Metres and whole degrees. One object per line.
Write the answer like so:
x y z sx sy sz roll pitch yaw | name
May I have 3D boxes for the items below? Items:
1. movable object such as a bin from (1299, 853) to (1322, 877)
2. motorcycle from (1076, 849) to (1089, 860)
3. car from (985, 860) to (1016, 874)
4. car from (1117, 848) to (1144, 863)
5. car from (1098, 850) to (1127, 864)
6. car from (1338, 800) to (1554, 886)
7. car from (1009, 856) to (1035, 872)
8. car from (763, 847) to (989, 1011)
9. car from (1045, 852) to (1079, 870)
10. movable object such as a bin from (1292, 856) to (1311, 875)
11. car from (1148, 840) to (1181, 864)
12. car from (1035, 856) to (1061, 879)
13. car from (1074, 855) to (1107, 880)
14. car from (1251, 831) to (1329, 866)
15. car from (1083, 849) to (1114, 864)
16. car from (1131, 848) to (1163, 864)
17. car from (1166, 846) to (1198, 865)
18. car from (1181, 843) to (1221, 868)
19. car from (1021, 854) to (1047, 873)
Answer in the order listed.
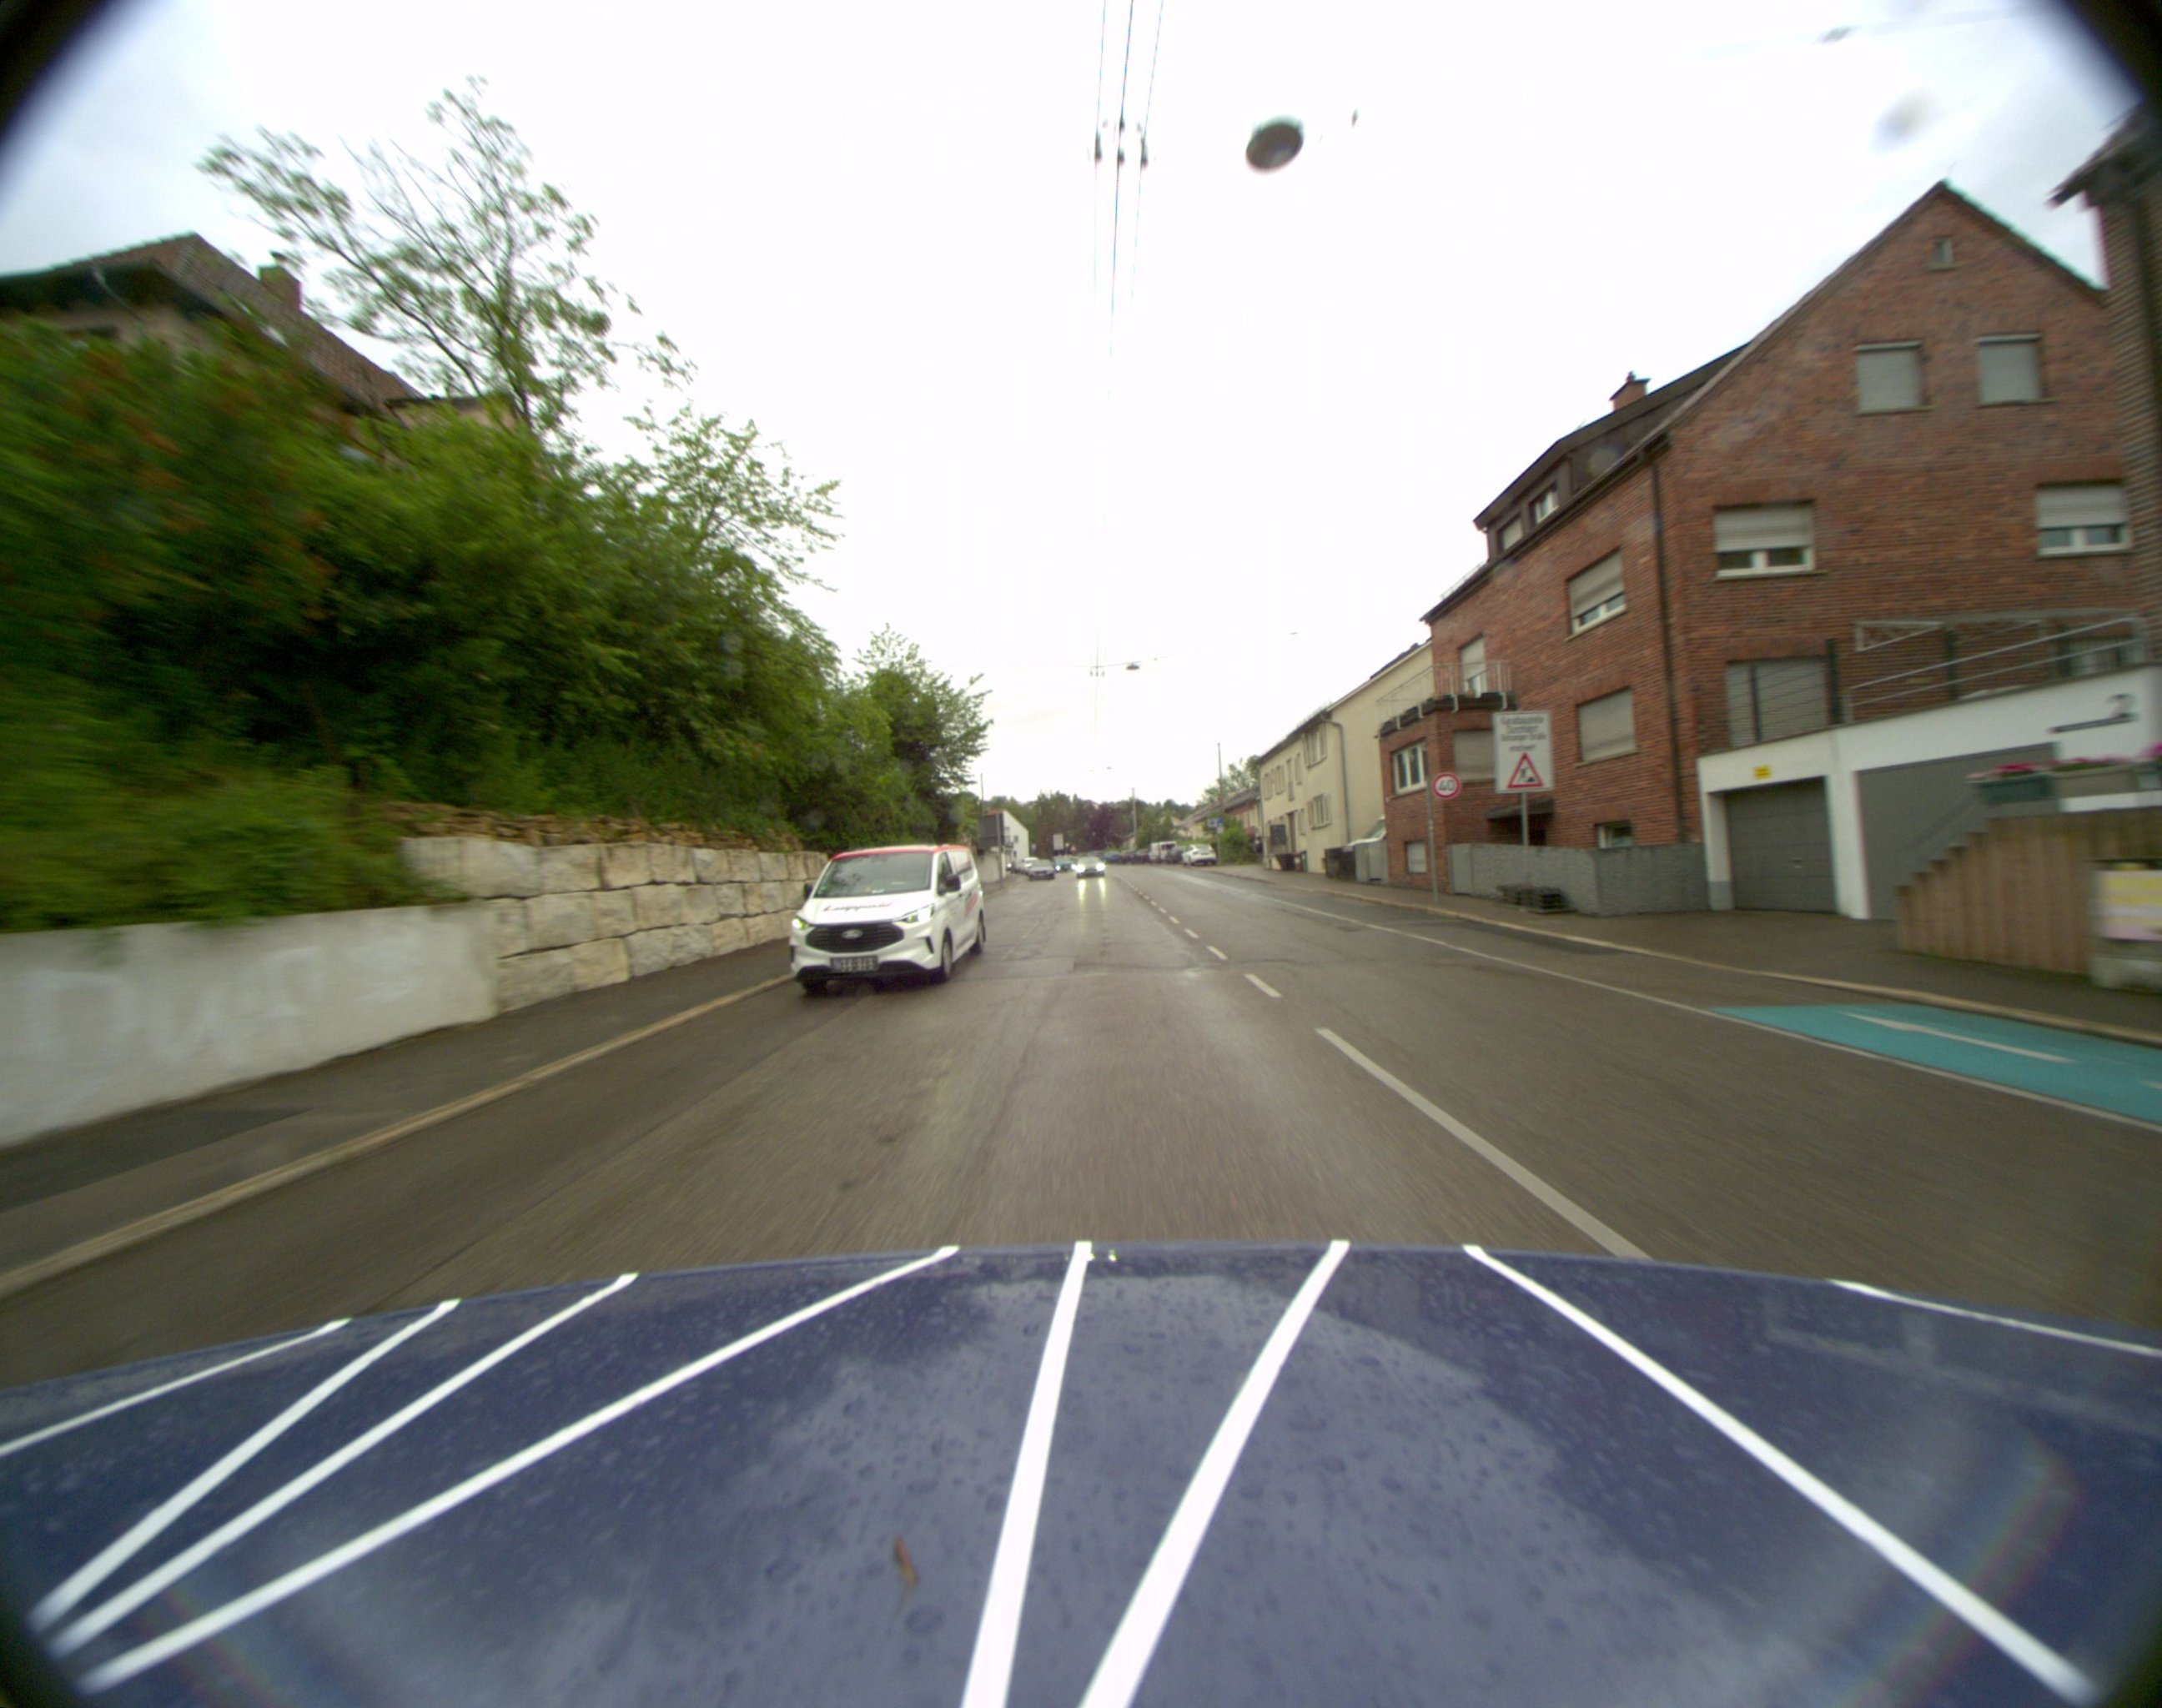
10.552 0.484 34.962 0.783 1.041 0.738 -4 1 1 | movable object such as a bin
0.178 0.051 97.192 0.574 1.264 1.910 -4 1 33 | motorcycle
-10.174 1.625 95.636 2.169 1.560 4.695 -5 1 -29 | car
5.379 0.206 82.907 1.814 1.468 4.518 -5 1 -11 | car
3.645 0.333 88.259 1.706 1.396 4.466 -5 0 -20 | car
13.103 -0.414 27.593 6.670 2.539 2.167 -4 2 2 | car
-6.170 1.035 79.108 1.685 1.475 4.195 -5 1 -16 | car
-2.813 0.934 11.661 2.041 1.927 4.515 -3 0 1 | car
-1.942 0.708 76.421 2.168 1.560 4.699 -4 1 -16 | car
10.657 0.543 36.710 0.675 0.854 0.708 -4 1 1 | movable object such as a bin
7.850 -0.185 72.140 1.854 2.067 5.017 -5 1 -7 | car
-2.481 0.974 57.926 1.794 1.487 4.704 -4 1 -1 | car
0.630 0.955 55.523 2.165 1.487 4.704 -4 1 -1 | car
13.613 -0.327 49.677 4.500 2.001 1.888 -4 0 -2 | car
2.086 0.368 92.950 1.930 1.568 4.379 -5 1 -25 | car
6.721 0.183 77.458 1.814 1.468 4.517 -5 1 -13 | car
8.682 0.133 65.871 1.813 1.468 4.520 -4 1 -4 | car
9.075 0.090 57.818 1.934 1.622 4.676 -4 1 -3 | car
-4.550 0.915 73.051 1.809 1.639 4.205 -4 1 -12 | car
